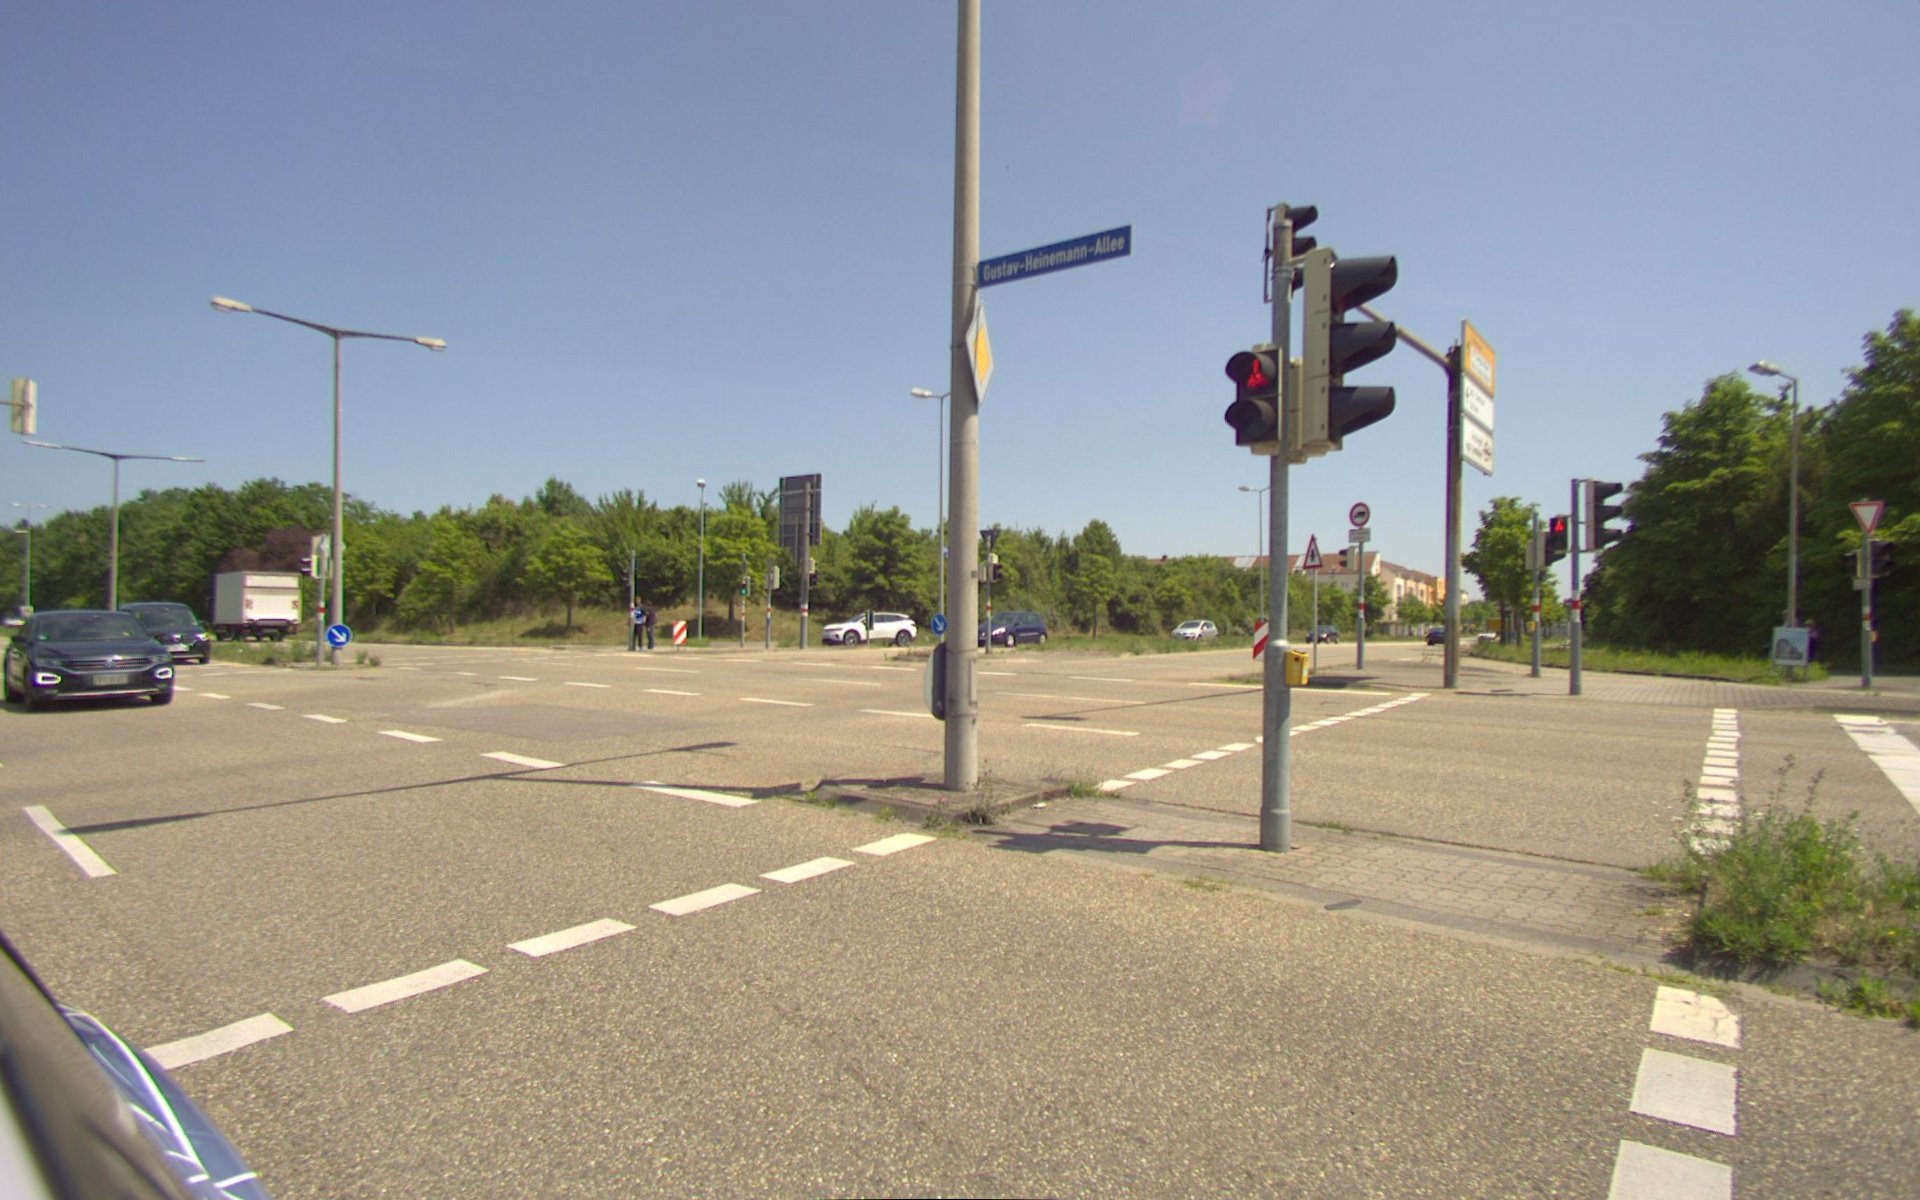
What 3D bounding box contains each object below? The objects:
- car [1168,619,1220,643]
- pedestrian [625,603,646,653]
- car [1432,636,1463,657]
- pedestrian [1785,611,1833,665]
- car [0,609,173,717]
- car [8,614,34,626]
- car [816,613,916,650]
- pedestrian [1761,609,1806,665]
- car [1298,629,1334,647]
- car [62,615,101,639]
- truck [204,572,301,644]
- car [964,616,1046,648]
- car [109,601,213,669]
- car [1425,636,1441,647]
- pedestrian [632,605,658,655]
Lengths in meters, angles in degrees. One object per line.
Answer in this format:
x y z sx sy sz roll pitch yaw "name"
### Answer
14.134 1.866 61.017 1.630 1.371 3.951 -1 -2 36 "car"
-11.557 0.996 36.060 0.573 1.749 0.795 1 -1 -29 "pedestrian"
34.784 3.292 72.134 1.734 1.431 3.960 -1 -2 29 "car"
23.849 1.064 28.439 0.789 1.515 0.616 0 -2 6 "pedestrian"
-14.341 0.931 16.503 3.970 1.523 1.716 -1 0 42 "car"
-113.713 2.416 122.554 4.165 1.467 1.804 -1 -2 40 "car"
-4.283 1.478 46.383 4.238 1.513 1.883 2 -5 -36 "car"
23.942 1.065 29.428 0.789 1.615 0.616 0 -2 6 "pedestrian"
28.279 2.966 80.283 1.630 1.371 3.951 -1 -2 36 "car"
-64.787 1.976 74.605 4.222 1.676 1.688 -1 -2 42 "car"
-37.946 0.466 54.170 7.265 3.597 2.659 -1 -1 42 "truck"
2.040 1.405 44.638 1.701 1.346 3.949 -1 -2 37 "car"
-23.472 0.998 29.672 4.321 1.840 1.712 -1 -1 42 "car"
56.198 4.953 120.268 1.288 1.133 3.174 0 1 32 "car"
-11.000 1.030 35.363 0.712 1.712 0.777 1 -1 -29 "pedestrian"
